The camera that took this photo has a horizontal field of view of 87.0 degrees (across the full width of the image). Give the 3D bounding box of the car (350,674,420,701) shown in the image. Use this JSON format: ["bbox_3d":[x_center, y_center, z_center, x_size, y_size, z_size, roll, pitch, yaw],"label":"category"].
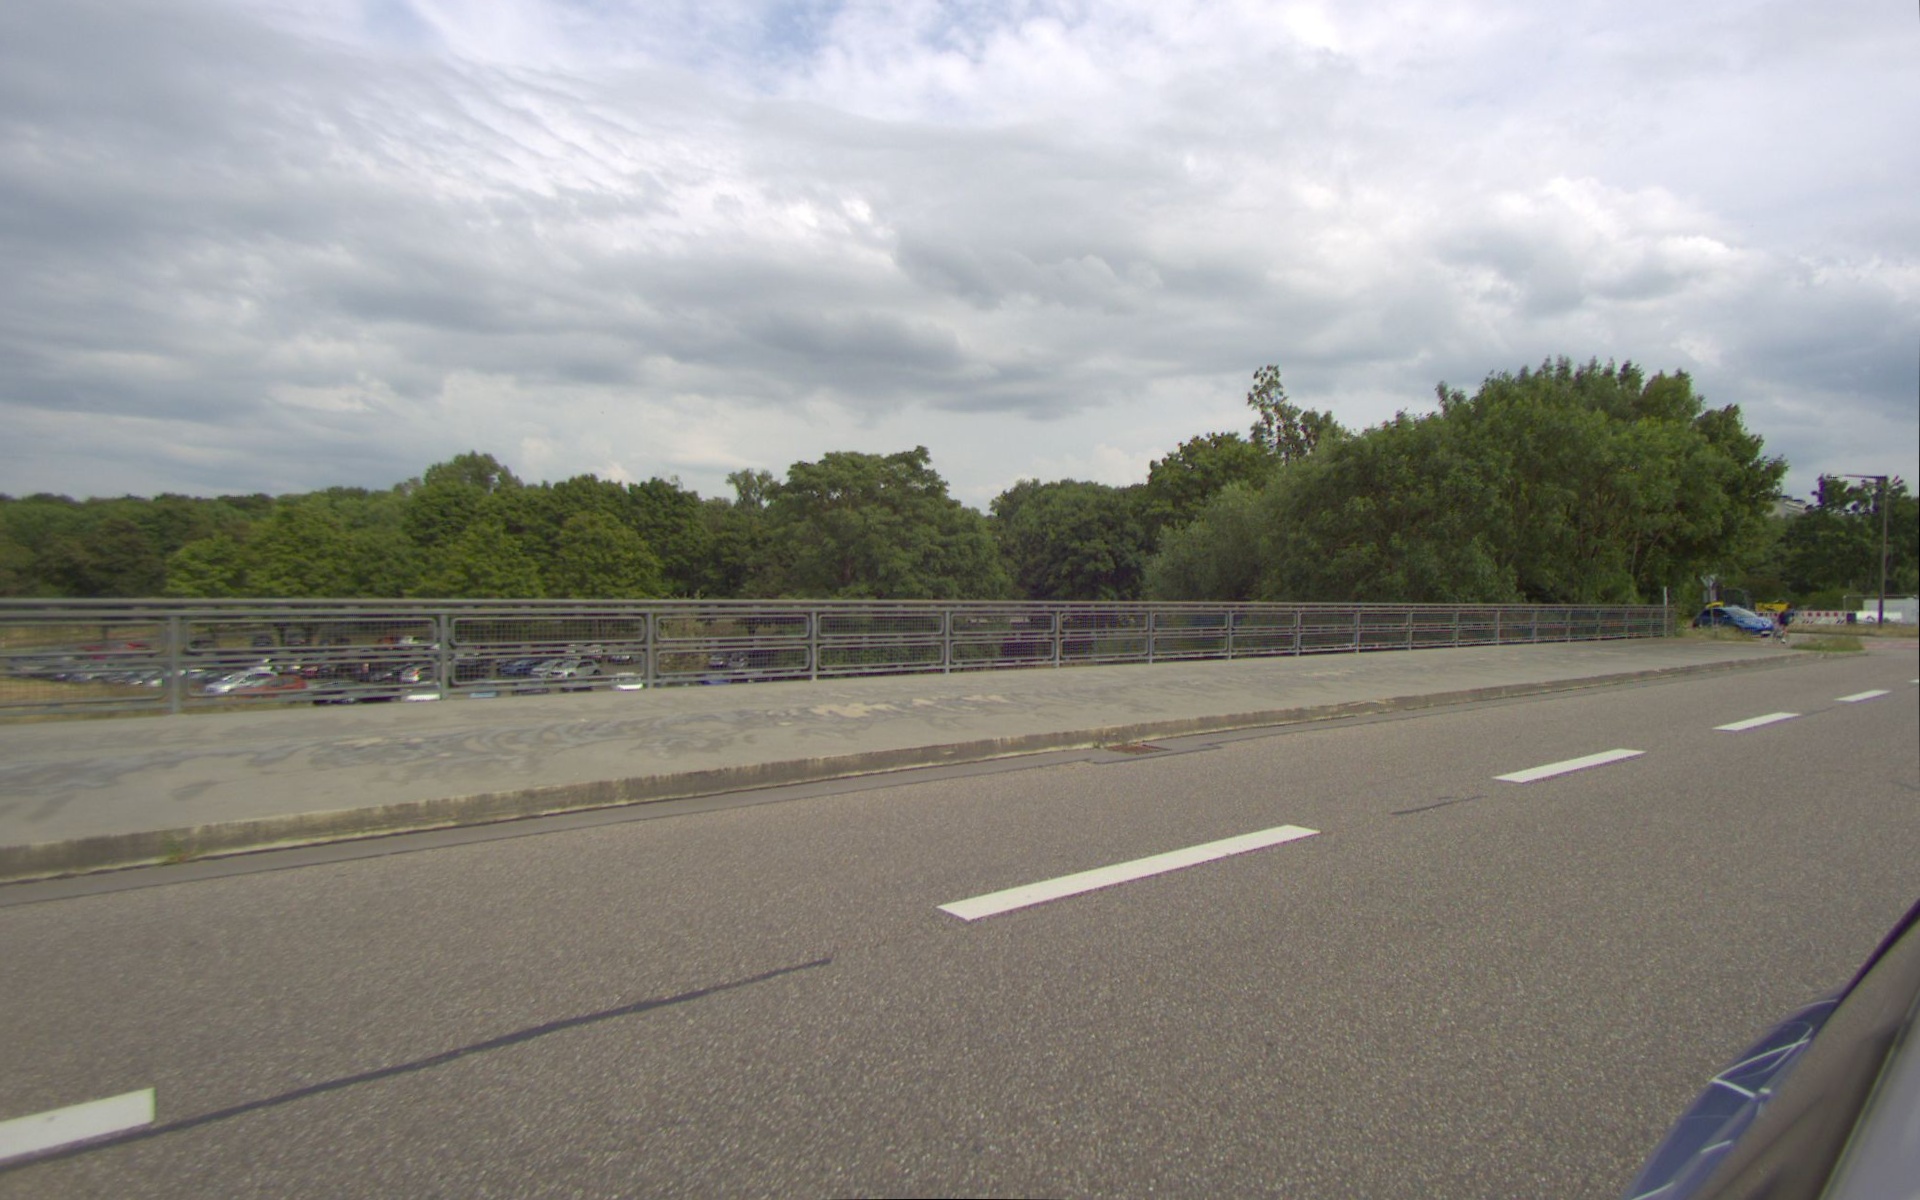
[{"bbox_3d":[-41.307,6.263,72.825,1.984,1.594,3.956,0,0,31],"label":"car"}]

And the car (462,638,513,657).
[{"bbox_3d":[-44.509,4.474,95.329,1.983,1.594,3.958,0,0,30],"label":"car"}]

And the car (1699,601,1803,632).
[{"bbox_3d":[41.293,0.837,52.938,1.840,1.537,4.008,0,0,-13],"label":"car"}]

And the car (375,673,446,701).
[{"bbox_3d":[-38.663,6.091,71.282,1.984,1.594,3.956,0,0,31],"label":"car"}]

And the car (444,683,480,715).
[{"bbox_3d":[-31.428,6.206,63.989,1.959,1.594,4.007,0,0,-25],"label":"car"}]

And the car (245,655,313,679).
[{"bbox_3d":[-53.233,5.188,79.135,1.984,1.594,3.956,0,0,31],"label":"car"}]

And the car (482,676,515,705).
[{"bbox_3d":[-31.604,6.176,69.279,1.959,1.594,4.007,0,0,-25],"label":"car"}]

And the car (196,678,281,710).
[{"bbox_3d":[-45.347,5.880,63.677,1.984,1.594,3.956,0,0,31],"label":"car"}]

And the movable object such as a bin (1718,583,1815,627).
[{"bbox_3d":[51.931,0.269,65.241,2.061,2.723,4.518,0,0,-33],"label":"movable object such as a bin"}]

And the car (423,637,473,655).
[{"bbox_3d":[-49.775,4.458,98.494,1.983,1.594,3.958,0,0,30],"label":"car"}]

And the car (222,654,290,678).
[{"bbox_3d":[-55.887,5.183,80.392,1.984,1.594,3.956,0,0,31],"label":"car"}]

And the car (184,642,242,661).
[{"bbox_3d":[-69.854,4.783,94.636,1.984,1.594,3.956,0,0,31],"label":"car"}]

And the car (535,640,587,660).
[{"bbox_3d":[-35.858,4.488,91.019,1.983,1.594,3.958,0,0,30],"label":"car"}]

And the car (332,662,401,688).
[{"bbox_3d":[-43.710,5.475,74.585,1.984,1.594,3.956,0,0,31],"label":"car"}]

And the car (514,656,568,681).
[{"bbox_3d":[-31.266,5.085,75.670,1.967,1.594,3.990,0,0,8],"label":"car"}]

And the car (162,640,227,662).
[{"bbox_3d":[-64.301,4.251,85.039,1.984,1.594,3.956,0,0,31],"label":"car"}]

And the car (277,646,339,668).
[{"bbox_3d":[-54.964,4.822,85.376,1.984,1.594,3.956,0,0,31],"label":"car"}]

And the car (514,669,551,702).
[{"bbox_3d":[-25.741,5.133,60.873,1.959,1.594,4.007,0,0,-25],"label":"car"}]

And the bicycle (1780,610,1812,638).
[{"bbox_3d":[34.328,0.996,41.550,1.939,1.034,0.578,4,1,-39],"label":"bicycle"}]

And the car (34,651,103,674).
[{"bbox_3d":[-74.531,5.212,84.640,1.984,1.594,3.956,0,0,31],"label":"car"}]

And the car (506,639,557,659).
[{"bbox_3d":[-39.173,4.482,92.594,1.983,1.594,3.958,0,0,30],"label":"car"}]

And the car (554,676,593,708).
[{"bbox_3d":[-23.747,5.612,62.081,1.959,1.594,4.007,0,0,-25],"label":"car"}]

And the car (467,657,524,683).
[{"bbox_3d":[-33.923,5.098,74.000,1.967,1.594,3.990,0,0,8],"label":"car"}]

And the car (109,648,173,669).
[{"bbox_3d":[-72.365,5.183,89.448,1.984,1.594,3.956,0,0,31],"label":"car"}]

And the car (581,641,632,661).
[{"bbox_3d":[-31.248,4.491,89.428,1.983,1.594,3.958,0,0,30],"label":"car"}]

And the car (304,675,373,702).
[{"bbox_3d":[-46.368,6.584,75.609,1.984,1.594,3.956,0,0,31],"label":"car"}]

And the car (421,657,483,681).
[{"bbox_3d":[-40.290,5.439,80.340,1.984,1.594,3.956,0,0,31],"label":"car"}]

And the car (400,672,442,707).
[{"bbox_3d":[-31.397,5.181,59.029,1.959,1.594,4.007,0,0,-25],"label":"car"}]

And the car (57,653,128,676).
[{"bbox_3d":[-70.595,5.224,82.387,1.984,1.594,3.956,0,0,31],"label":"car"}]

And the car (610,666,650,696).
[{"bbox_3d":[-20.990,5.109,64.278,1.959,1.594,4.007,0,0,-25],"label":"car"}]

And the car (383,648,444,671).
[{"bbox_3d":[-44.541,4.829,82.587,1.984,1.594,3.956,0,0,31],"label":"car"}]

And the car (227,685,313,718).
[{"bbox_3d":[-42.805,6.284,62.832,1.984,1.594,3.956,0,0,31],"label":"car"}]

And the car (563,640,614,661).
[{"bbox_3d":[-33.239,4.486,90.627,1.983,1.594,3.958,0,0,30],"label":"car"}]

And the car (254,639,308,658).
[{"bbox_3d":[-65.950,4.718,98.334,1.984,1.594,3.956,0,0,31],"label":"car"}]

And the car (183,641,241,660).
[{"bbox_3d":[-70.394,4.741,95.228,1.984,1.594,3.956,0,0,31],"label":"car"}]

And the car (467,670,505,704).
[{"bbox_3d":[-28.187,5.139,60.231,1.959,1.594,4.007,0,0,-25],"label":"car"}]

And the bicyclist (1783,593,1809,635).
[{"bbox_3d":[34.338,0.569,41.556,0.790,1.681,0.666,4,-3,-38],"label":"bicyclist"}]

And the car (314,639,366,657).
[{"bbox_3d":[-61.254,4.704,100.058,1.984,1.594,3.956,0,0,31],"label":"car"}]

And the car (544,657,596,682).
[{"bbox_3d":[-29.031,5.131,75.414,1.967,1.594,3.990,0,0,8],"label":"car"}]

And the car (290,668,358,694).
[{"bbox_3d":[-48.321,6.106,76.966,1.984,1.594,3.956,0,0,31],"label":"car"}]

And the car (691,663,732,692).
[{"bbox_3d":[-16.440,5.096,66.847,1.959,1.594,4.007,0,0,-25],"label":"car"}]

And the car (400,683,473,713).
[{"bbox_3d":[-35.584,6.640,68.885,1.984,1.594,3.956,0,0,31],"label":"car"}]
